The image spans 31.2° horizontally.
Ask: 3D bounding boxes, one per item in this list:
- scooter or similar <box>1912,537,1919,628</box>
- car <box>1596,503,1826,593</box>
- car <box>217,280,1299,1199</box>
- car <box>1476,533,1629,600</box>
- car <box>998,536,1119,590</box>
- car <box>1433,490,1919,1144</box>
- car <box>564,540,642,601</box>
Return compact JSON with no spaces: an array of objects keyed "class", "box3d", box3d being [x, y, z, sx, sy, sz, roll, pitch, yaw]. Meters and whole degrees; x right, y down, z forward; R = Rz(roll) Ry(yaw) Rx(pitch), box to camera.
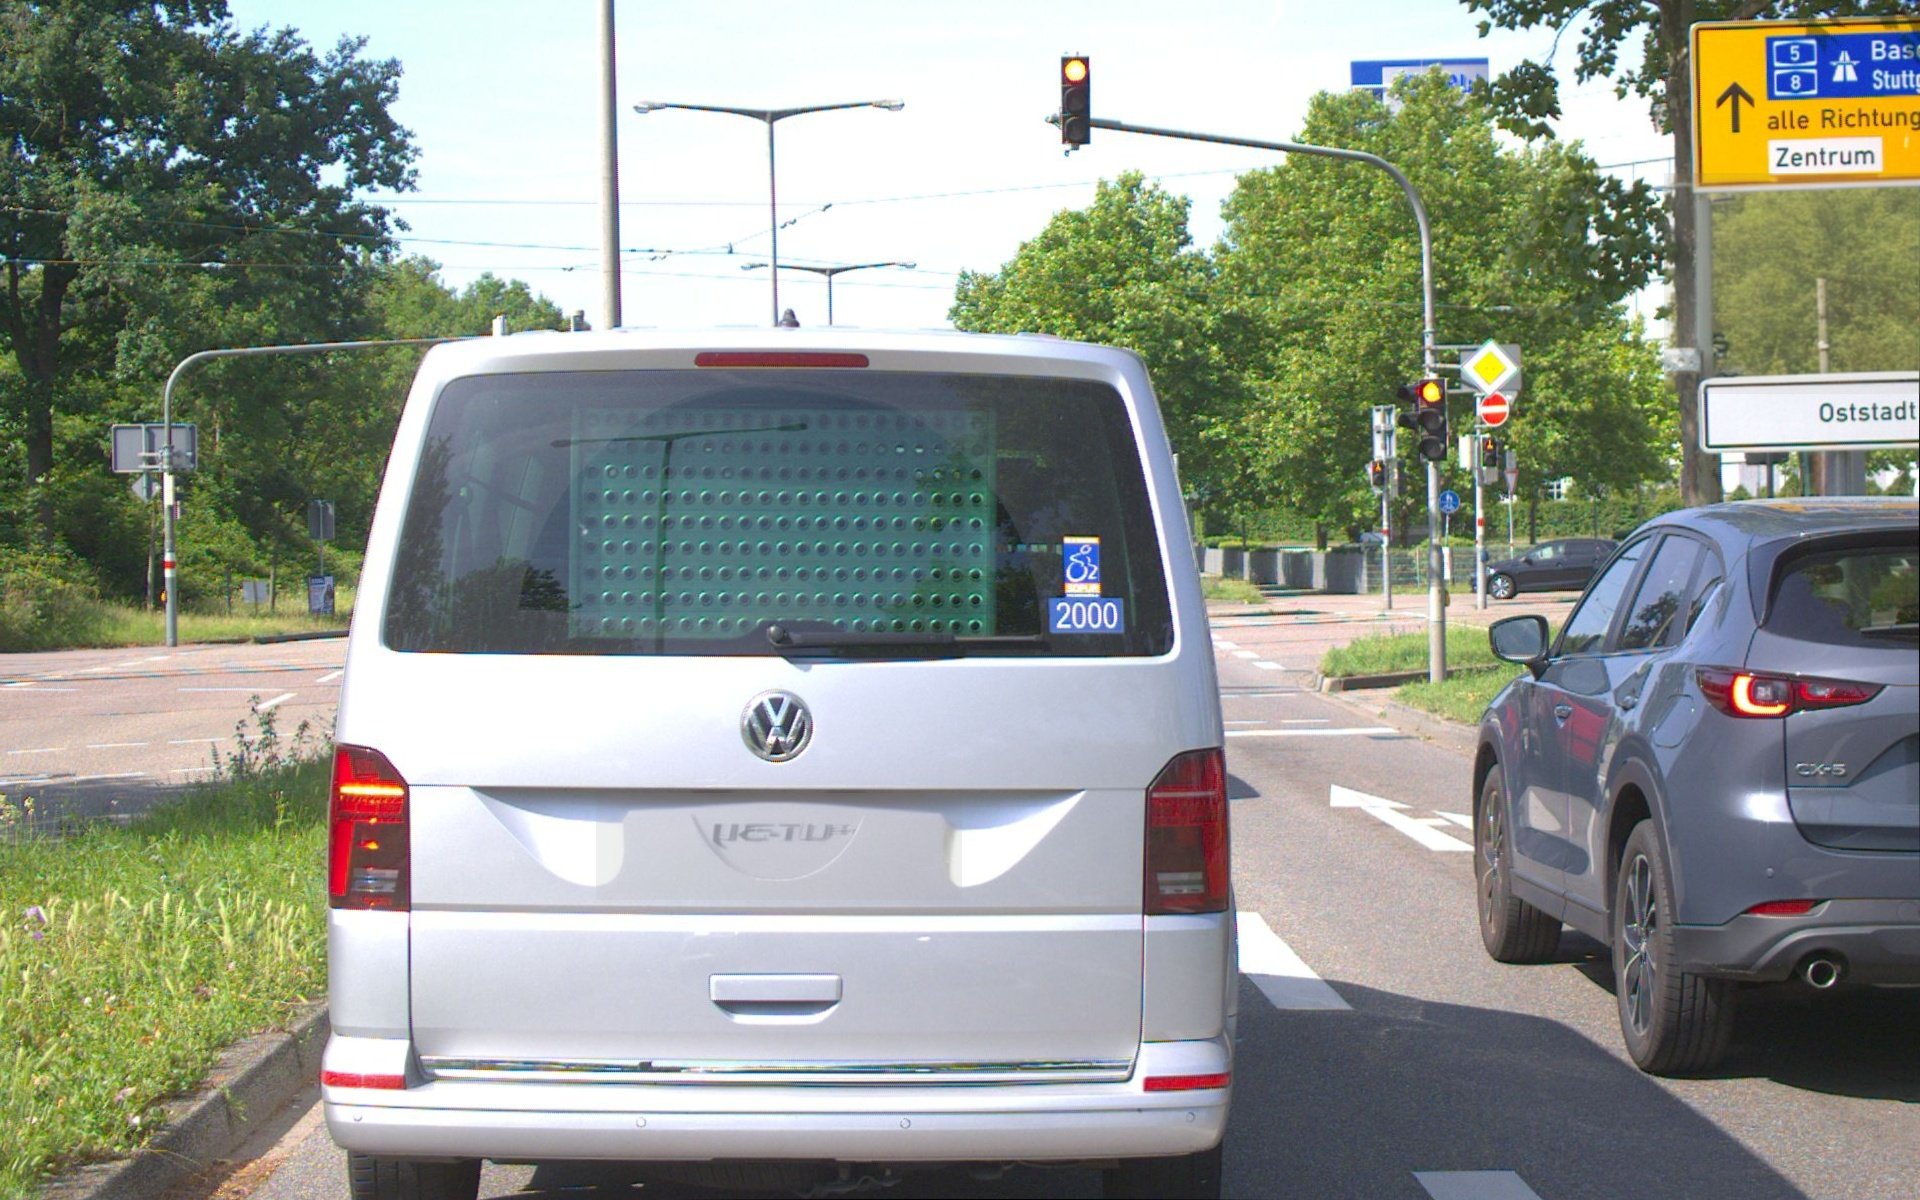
[{"class":"scooter or similar","box3d":[12.126,-0.217,42.399,0.424,1.122,1.124,-1,1,-1]},{"class":"car","box3d":[15.050,-1.040,68.816,4.613,1.683,1.915,-2,1,-37]},{"class":"car","box3d":[-0.390,0.374,8.736,1.941,1.965,5.022,-1,1,-1]},{"class":"car","box3d":[14.366,-0.816,83.358,3.597,1.560,1.999,1,0,11]},{"class":"car","box3d":[2.759,-1.050,97.311,1.775,1.439,4.628,-2,1,-20]},{"class":"car","box3d":[2.767,0.524,10.978,1.766,1.653,4.496,1,1,-1]},{"class":"car","box3d":[-9.579,-0.800,92.468,1.849,1.556,4.001,-1,1,-3]}]
